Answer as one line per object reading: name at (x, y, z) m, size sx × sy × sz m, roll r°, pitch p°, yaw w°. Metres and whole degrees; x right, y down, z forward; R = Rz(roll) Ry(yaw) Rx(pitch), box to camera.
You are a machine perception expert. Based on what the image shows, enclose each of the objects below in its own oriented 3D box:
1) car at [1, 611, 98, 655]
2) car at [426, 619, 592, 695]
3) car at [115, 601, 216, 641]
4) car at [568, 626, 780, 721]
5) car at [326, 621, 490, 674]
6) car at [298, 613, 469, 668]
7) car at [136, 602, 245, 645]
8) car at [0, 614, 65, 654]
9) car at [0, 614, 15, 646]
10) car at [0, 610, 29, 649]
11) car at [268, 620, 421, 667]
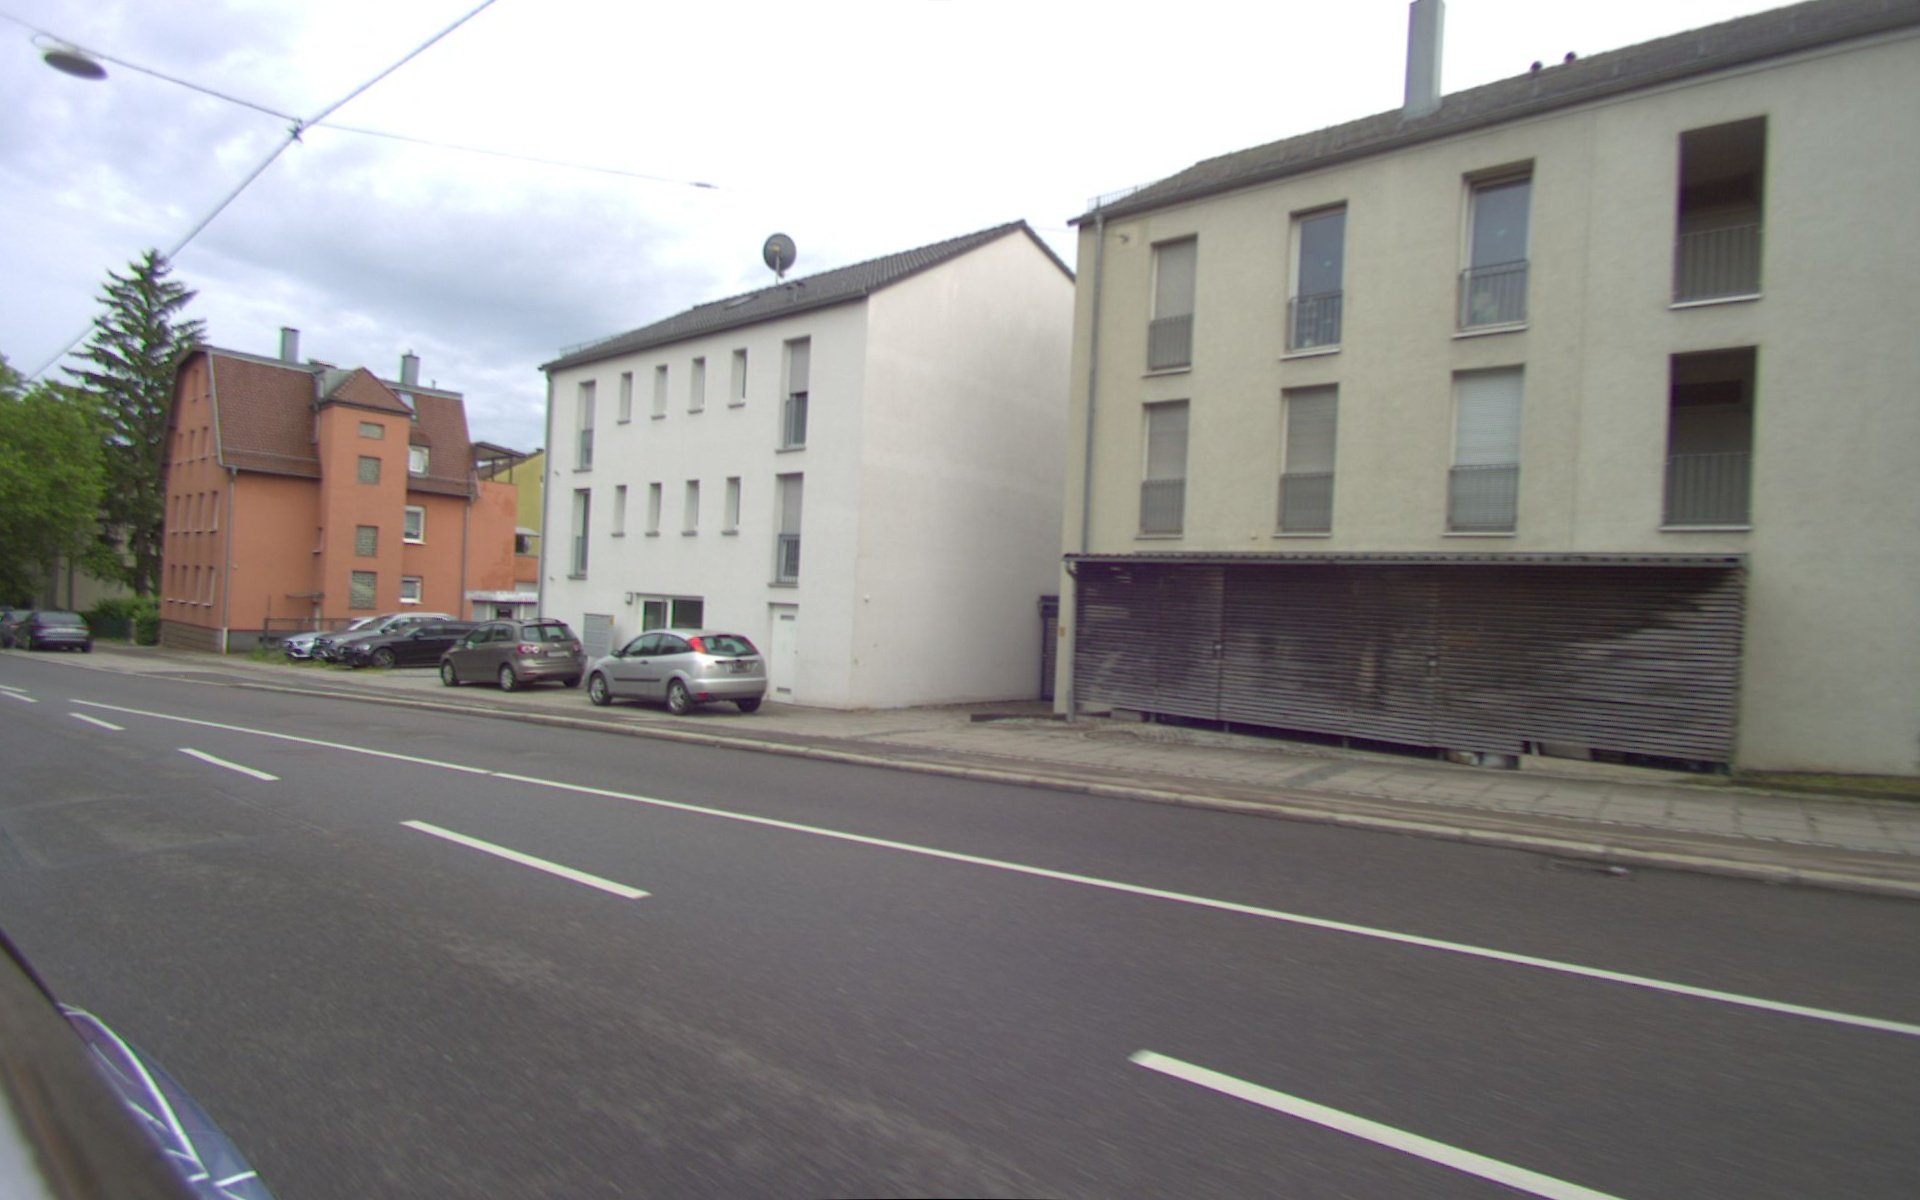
car at (-32.453, 1.155, 36.034) m, size 4.192 × 1.421 × 1.767 m, roll 0°, pitch -4°, yaw 38°
car at (-10.452, 1.253, 23.357) m, size 4.076 × 1.564 × 1.729 m, roll 0°, pitch 0°, yaw 36°
car at (-41.190, 1.076, 52.506) m, size 3.939 × 2.029 × 2.002 m, roll 1°, pitch -1°, yaw -42°
car at (-5.341, 1.276, 18.678) m, size 4.175 × 1.519 × 1.727 m, roll 0°, pitch -2°, yaw 41°
car at (-17.025, 1.405, 31.326) m, size 1.895 × 1.475 × 4.082 m, roll -1°, pitch -1°, yaw 42°
car at (-18.933, 1.272, 33.390) m, size 2.152 × 1.620 × 4.483 m, roll -1°, pitch 0°, yaw 42°
car at (-38.133, 1.145, 50.216) m, size 1.998 × 2.029 × 3.948 m, roll 0°, pitch -1°, yaw 39°
car at (-36.210, 1.299, 39.043) m, size 4.193 × 1.463 × 1.794 m, roll 0°, pitch -2°, yaw 39°
car at (-45.302, 1.354, 46.813) m, size 4.196 × 1.444 × 1.793 m, roll 0°, pitch -2°, yaw 40°
car at (-41.202, 1.194, 43.007) m, size 4.196 × 1.558 × 1.793 m, roll 0°, pitch -6°, yaw 40°
car at (-21.068, 1.428, 34.735) m, size 2.000 × 1.444 × 4.117 m, roll -1°, pitch 0°, yaw 42°
